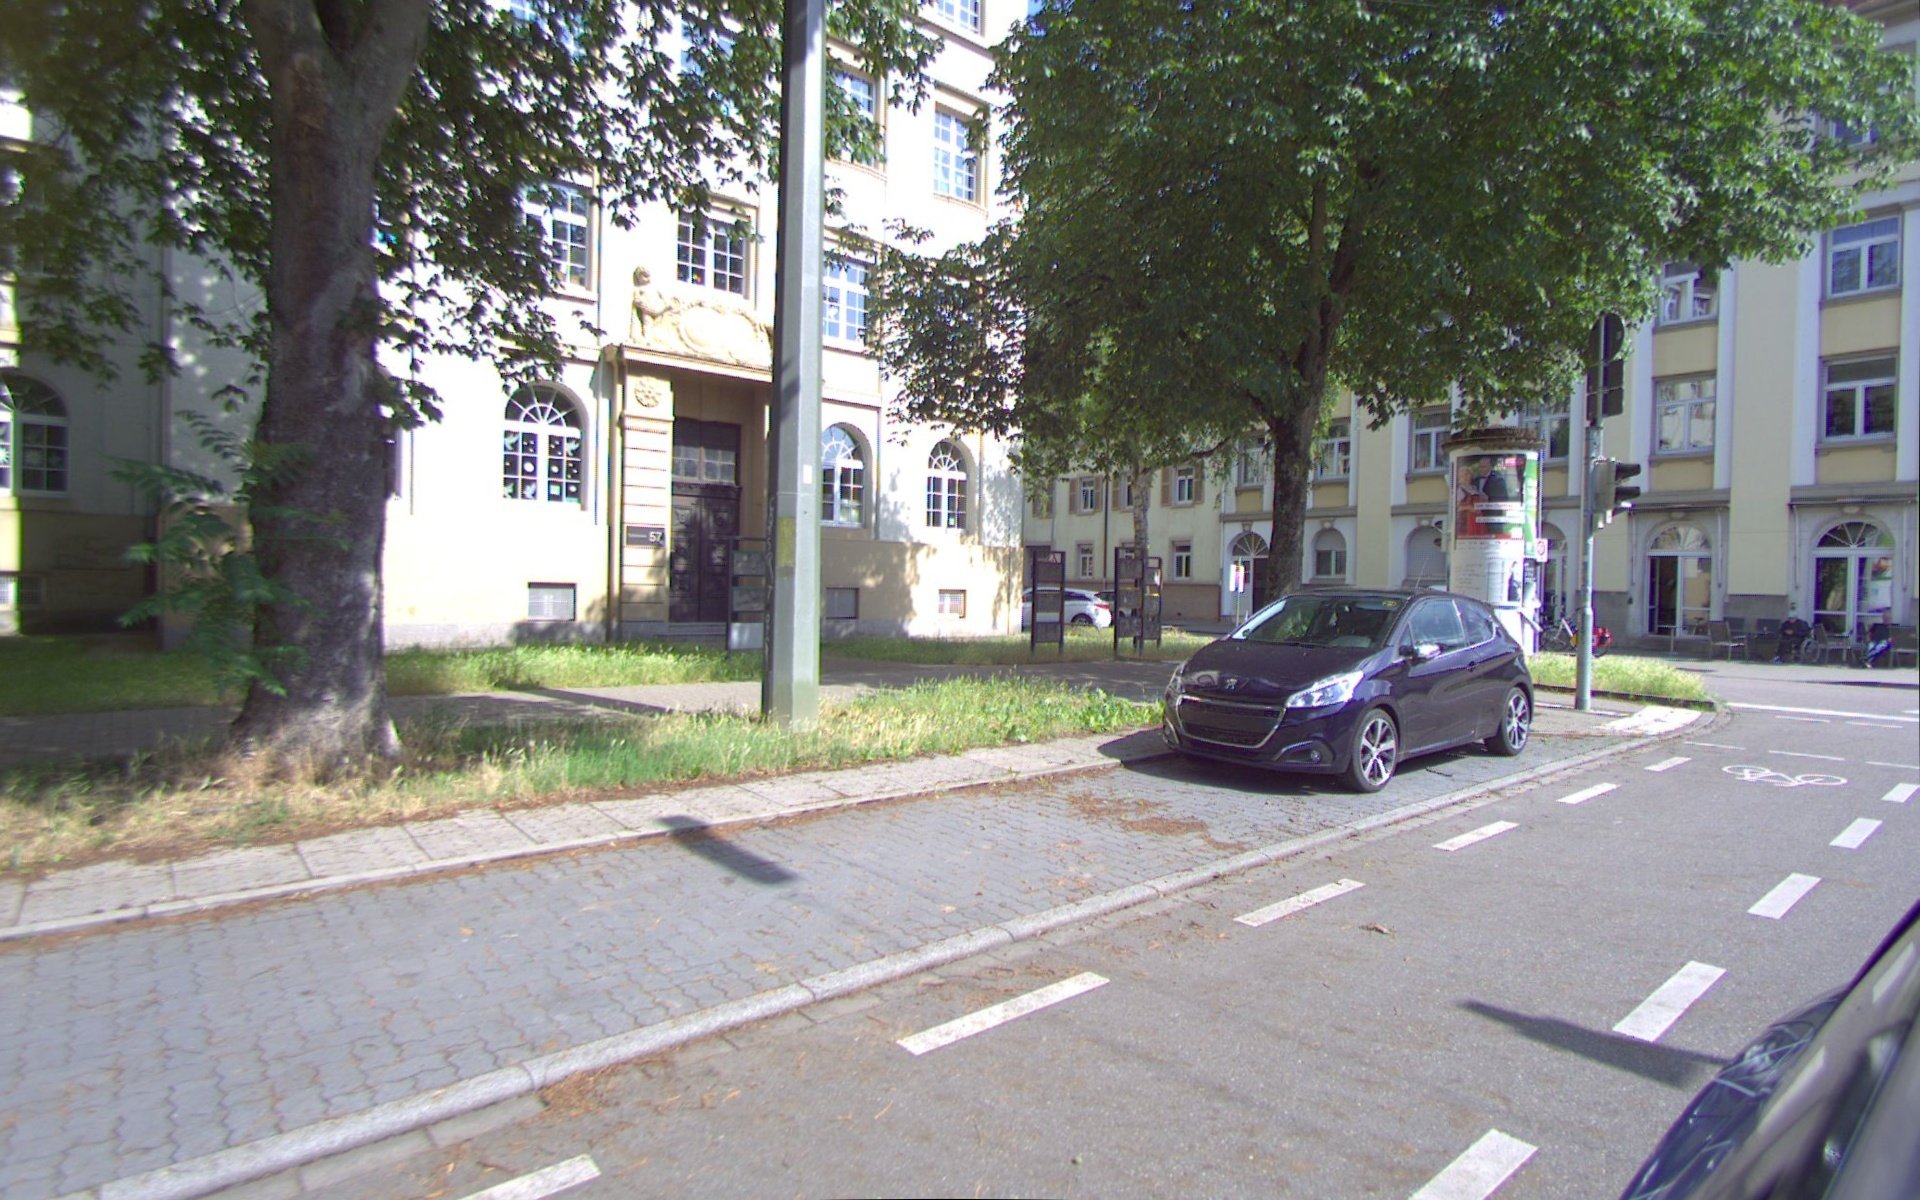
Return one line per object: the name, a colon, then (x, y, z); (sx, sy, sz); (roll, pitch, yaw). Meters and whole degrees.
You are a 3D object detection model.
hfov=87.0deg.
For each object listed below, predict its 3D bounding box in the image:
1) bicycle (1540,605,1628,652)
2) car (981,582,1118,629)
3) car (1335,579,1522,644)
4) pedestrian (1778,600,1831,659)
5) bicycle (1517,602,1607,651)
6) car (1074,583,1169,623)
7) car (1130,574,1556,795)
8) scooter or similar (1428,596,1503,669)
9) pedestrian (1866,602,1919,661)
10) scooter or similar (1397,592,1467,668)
bicycle: (15.890, 0.713, 25.835); (0.603, 1.058, 1.950); (0, 2, -19)
car: (2.836, 0.157, 32.663); (4.096, 1.369, 1.859); (1, 1, -4)
car: (13.587, 0.264, 29.687); (1.820, 1.676, 4.842); (-1, 2, -30)
pedestrian: (20.116, 0.688, 24.106); (0.745, 1.304, 0.804); (-2, 3, -38)
bicycle: (15.897, 0.681, 26.762); (0.606, 1.154, 1.942); (-1, 3, -42)
car: (6.664, 0.097, 42.158); (1.820, 1.442, 4.006); (-3, 3, -28)
car: (3.361, 0.520, 8.560); (3.855, 1.404, 1.689); (-1, 3, -40)
scooter or similar: (8.407, 0.541, 16.830); (1.103, 1.193, 0.415); (1, -1, -12)
pedestrian: (21.424, 0.706, 23.214); (0.876, 1.260, 0.804); (-2, 3, -38)
scooter or similar: (8.211, 0.500, 17.626); (0.437, 1.257, 1.110); (1, 1, -18)
